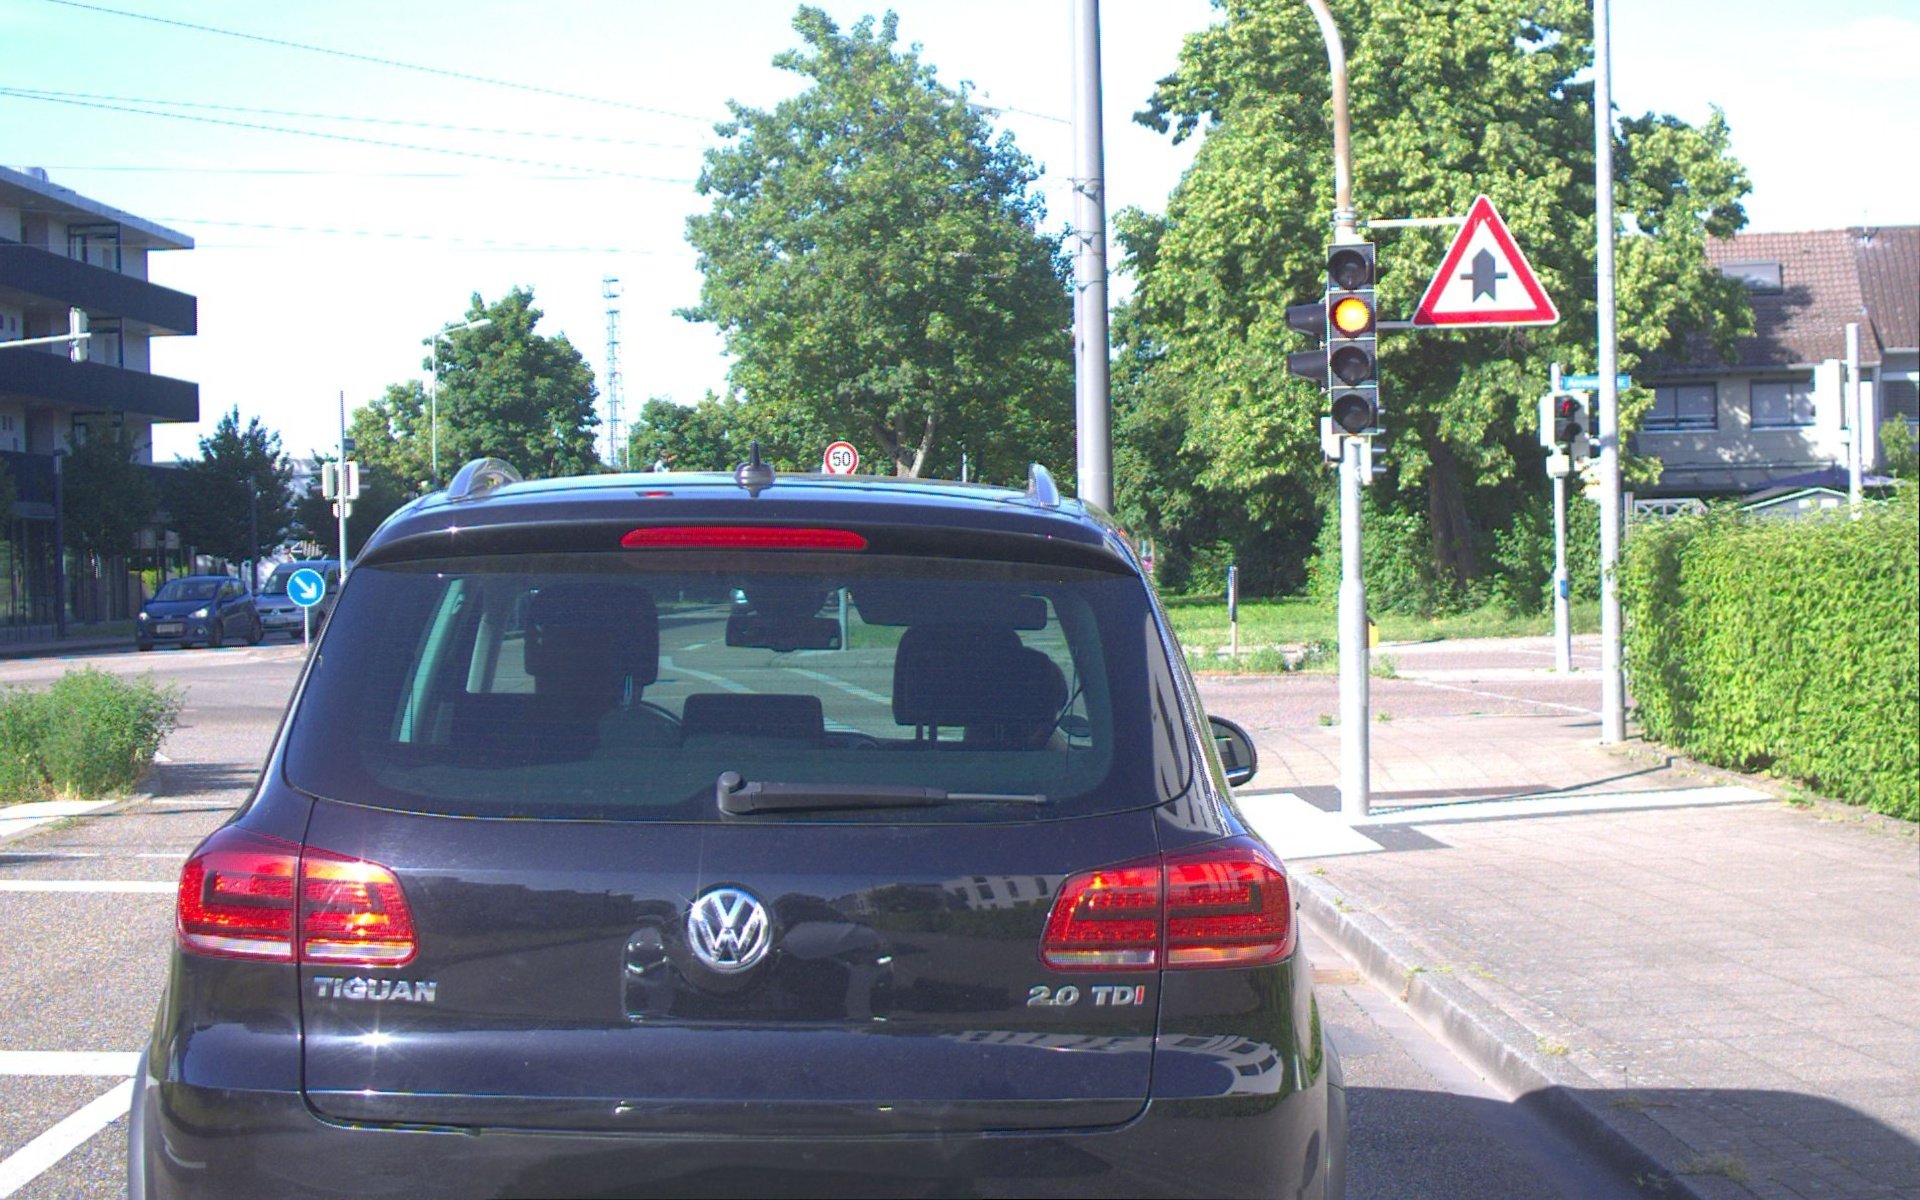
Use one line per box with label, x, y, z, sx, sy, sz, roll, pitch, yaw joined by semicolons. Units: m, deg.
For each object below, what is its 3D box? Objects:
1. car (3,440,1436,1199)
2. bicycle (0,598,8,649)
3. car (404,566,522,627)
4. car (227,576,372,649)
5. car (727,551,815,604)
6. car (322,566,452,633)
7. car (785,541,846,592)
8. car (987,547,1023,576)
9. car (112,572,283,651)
car;-0.342;0.599;6.517;1.869;1.632;4.000;1;1;-1
bicycle;-19.231;0.464;66.360;0.771;0.986;2.431;1;1;7
car;-13.131;-0.109;91.045;1.994;1.569;4.338;1;1;7
car;-14.969;0.259;78.154;1.994;1.569;4.338;1;1;7
car;-5.552;-0.680;101.534;1.864;1.480;4.109;-1;1;7
car;-14.143;-0.030;85.060;1.994;1.569;4.338;1;1;7
car;-5.051;-1.193;120.559;1.864;1.714;3.687;-1;1;1
car;2.770;-2.353;210.566;1.993;1.678;4.000;1;1;-2
car;-15.793;0.215;71.460;1.994;1.569;4.337;1;1;9
